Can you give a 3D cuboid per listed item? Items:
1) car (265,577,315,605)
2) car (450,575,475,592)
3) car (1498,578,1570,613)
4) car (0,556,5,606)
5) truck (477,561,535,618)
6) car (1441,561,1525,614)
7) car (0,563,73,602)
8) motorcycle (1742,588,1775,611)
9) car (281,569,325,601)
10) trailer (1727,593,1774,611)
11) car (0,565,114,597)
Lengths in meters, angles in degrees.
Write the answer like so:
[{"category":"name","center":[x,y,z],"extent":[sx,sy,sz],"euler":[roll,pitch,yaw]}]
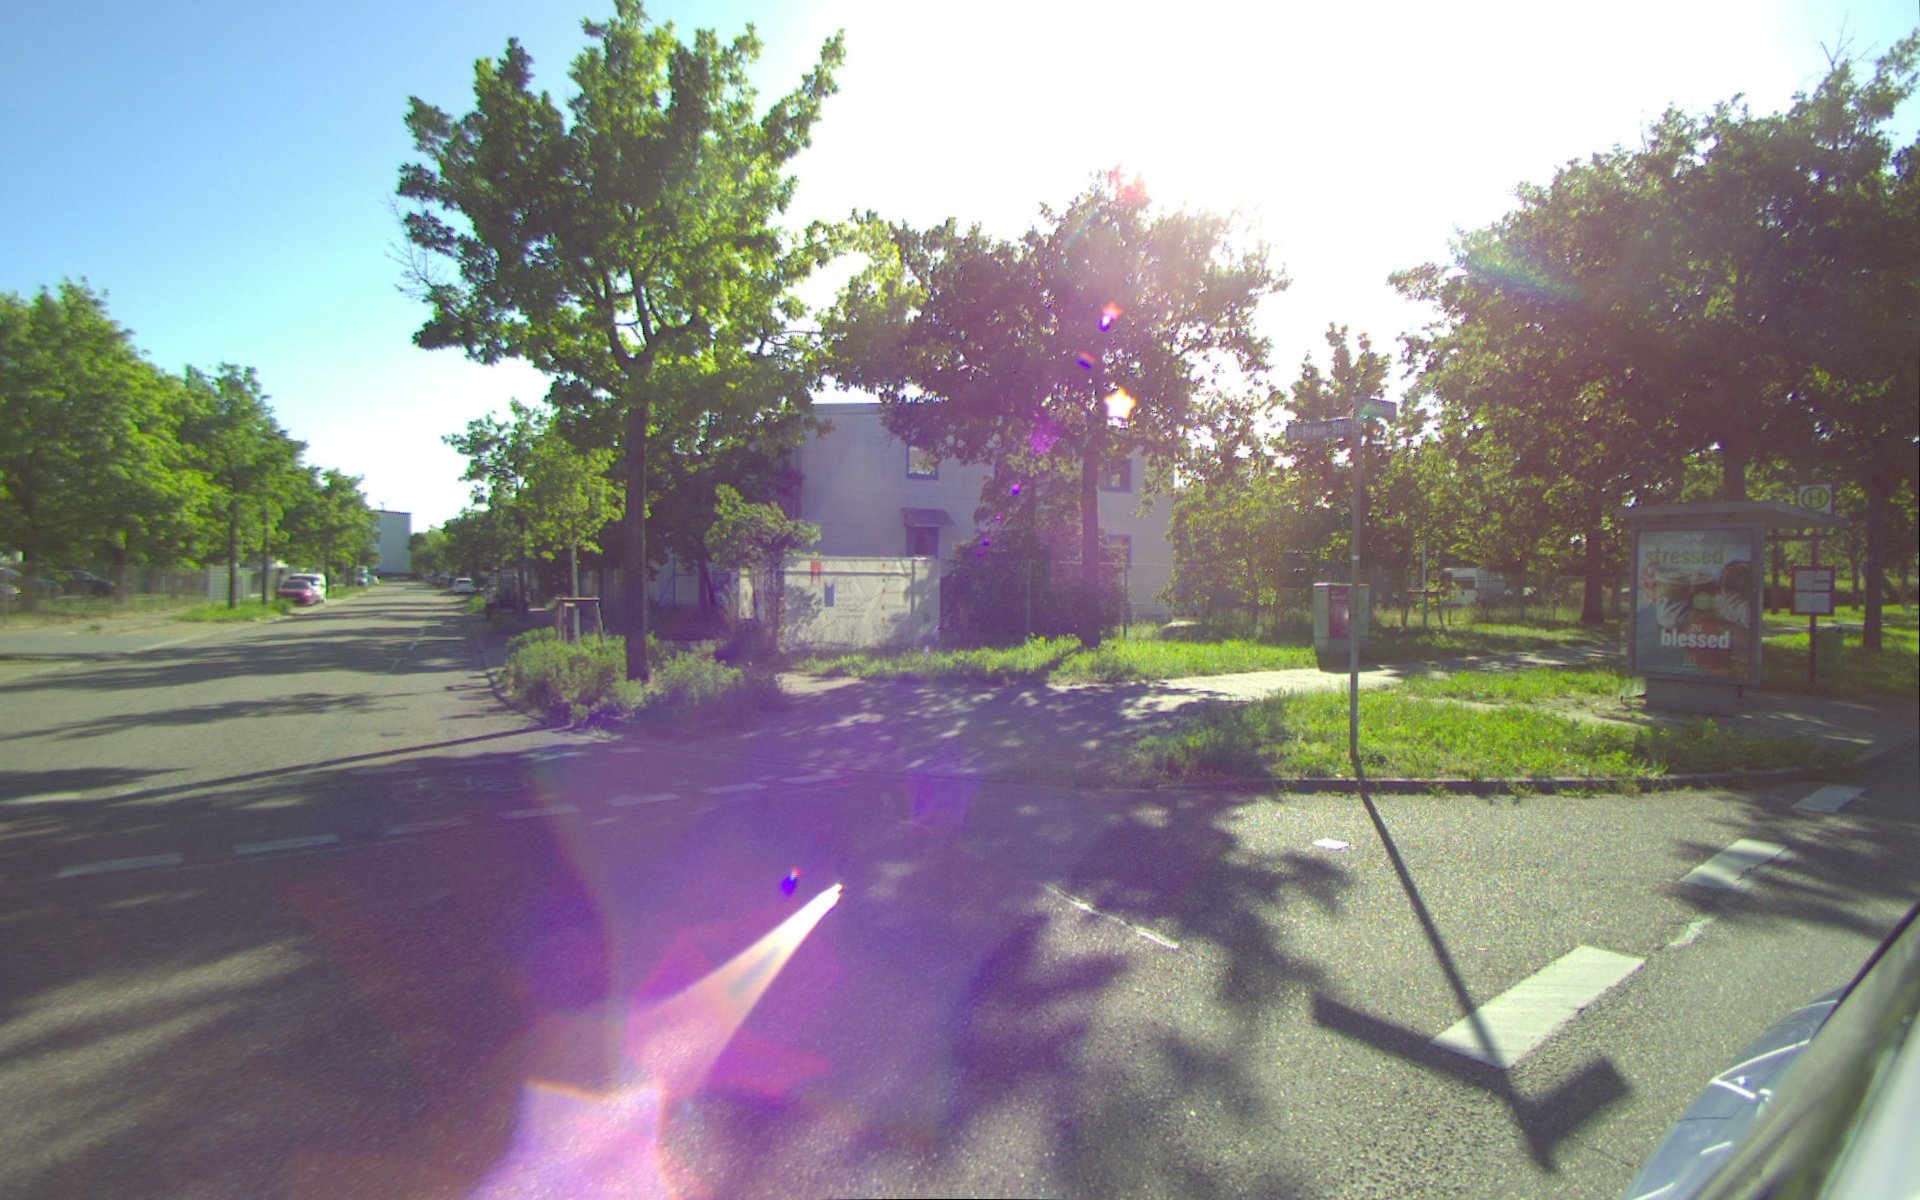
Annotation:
[{"category":"car","center":[-37.721,-0.547,57.044],"extent":[1.902,1.498,4.522],"euler":[0,1,-28]},{"category":"car","center":[-44.927,-1.516,91.311],"extent":[1.902,1.498,4.522],"euler":[0,1,-28]},{"category":"car","center":[29.090,-0.226,51.228],"extent":[3.532,1.685,2.010],"euler":[0,1,-39]},{"category":"car","center":[-40.102,-0.746,38.823],"extent":[4.639,2.011,2.003],"euler":[0,1,-28]},{"category":"truck","center":[-18.786,-0.484,42.076],"extent":[1.959,2.138,5.165],"euler":[-2,2,-22]},{"category":"car","center":[27.667,-0.691,53.479],"extent":[4.763,2.676,2.166],"euler":[0,1,-39]},{"category":"car","center":[-43.396,-0.796,45.681],"extent":[4.637,1.700,2.004],"euler":[0,1,-24]},{"category":"motorcycle","center":[48.170,-0.039,61.055],"extent":[2.359,1.246,0.666],"euler":[-5,3,-27]},{"category":"car","center":[-40.292,-0.937,62.131],"extent":[1.960,1.860,5.464],"euler":[0,1,-30]},{"category":"trailer","center":[49.154,0.121,62.903],"extent":[2.013,0.878,1.586],"euler":[-5,3,-27]},{"category":"car","center":[-50.480,-1.063,56.495],"extent":[4.637,1.700,2.004],"euler":[0,1,-24]}]
